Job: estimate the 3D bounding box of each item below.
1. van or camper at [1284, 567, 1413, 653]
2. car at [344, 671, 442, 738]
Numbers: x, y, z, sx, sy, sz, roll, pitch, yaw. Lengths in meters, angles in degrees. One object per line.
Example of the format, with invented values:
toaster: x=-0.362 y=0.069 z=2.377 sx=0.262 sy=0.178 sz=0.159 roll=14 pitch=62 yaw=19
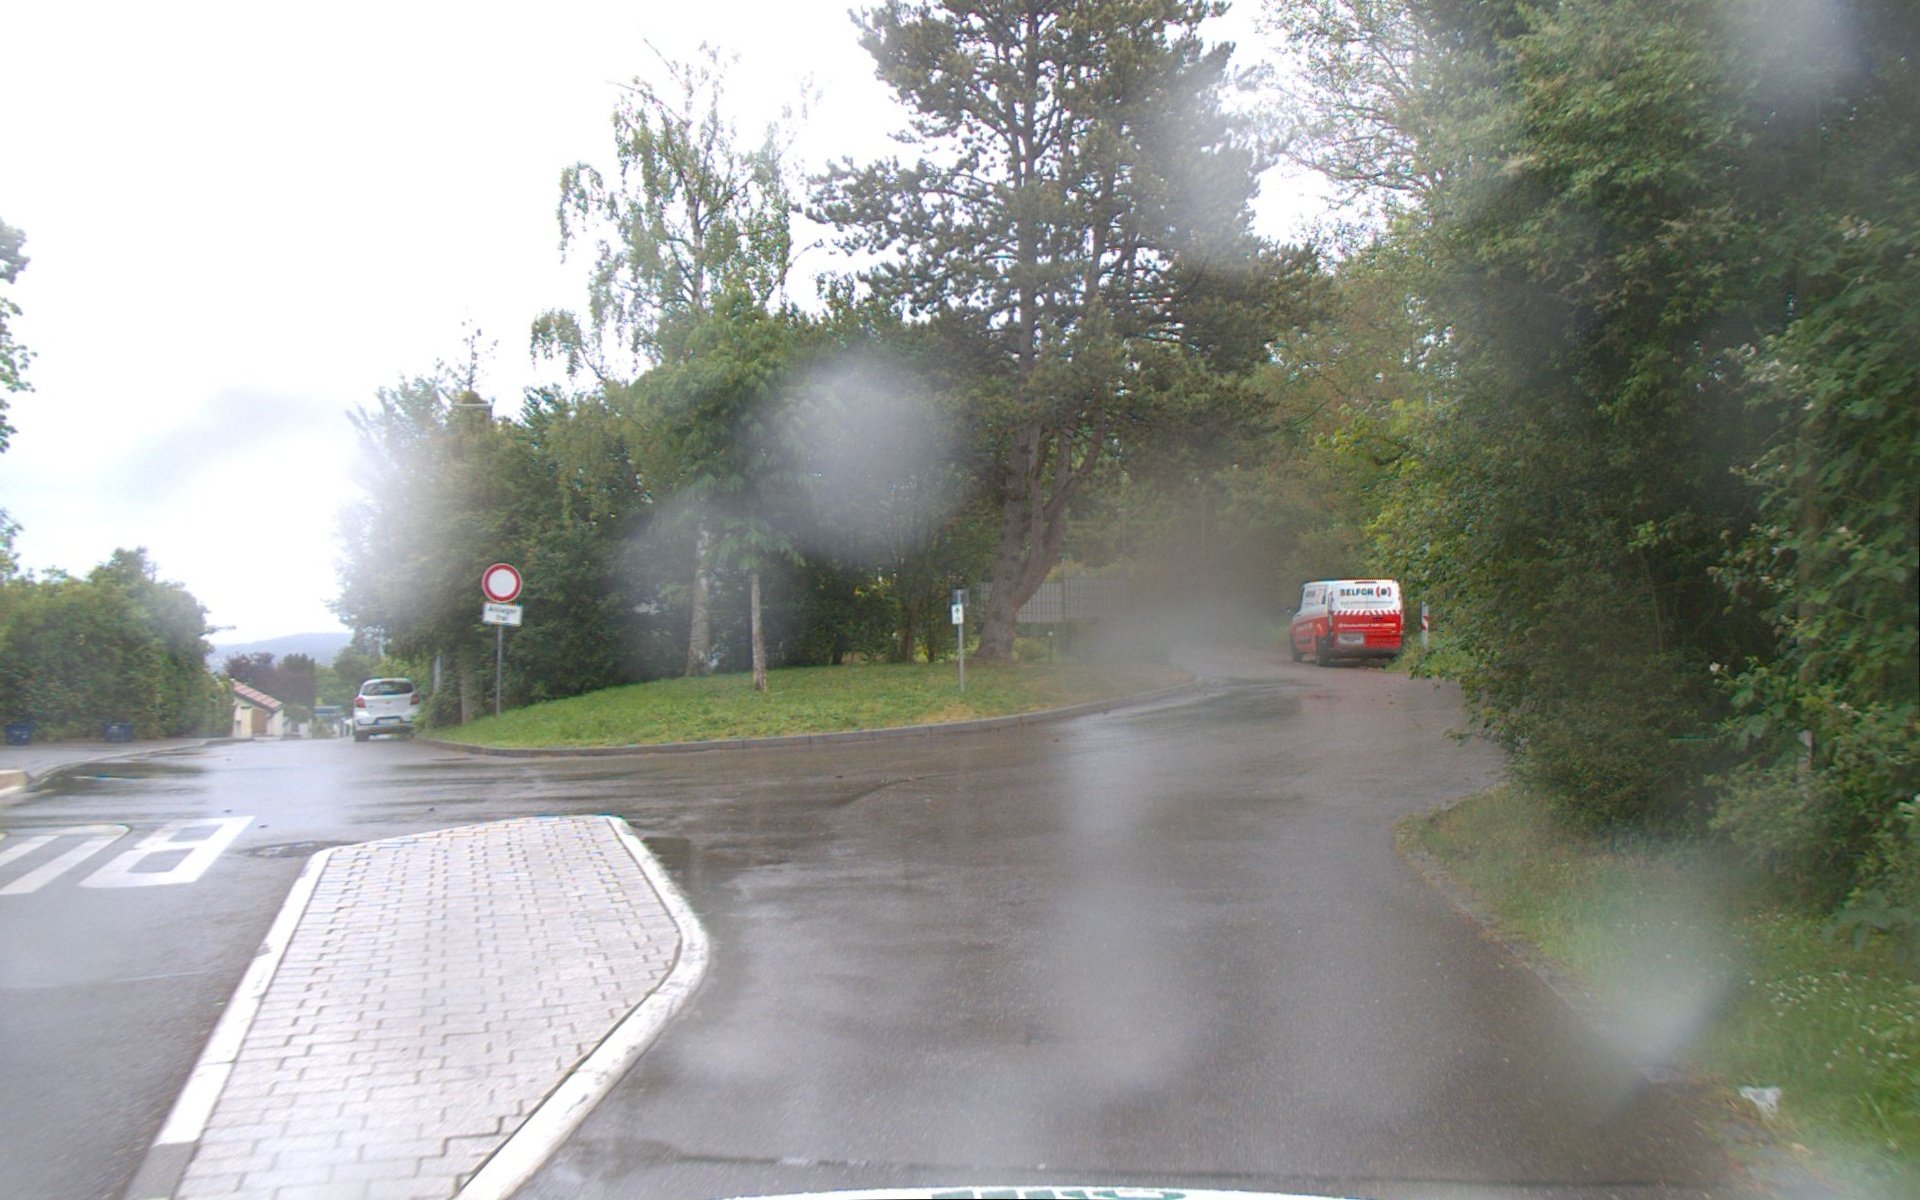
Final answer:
van or camper: x=9.156 y=0.270 z=39.321 sx=1.953 sy=1.915 sz=4.451 roll=-1 pitch=-1 yaw=-1
car: x=-14.385 y=2.695 z=42.179 sx=1.959 sy=1.611 sz=3.985 roll=1 pitch=-5 yaw=-14
